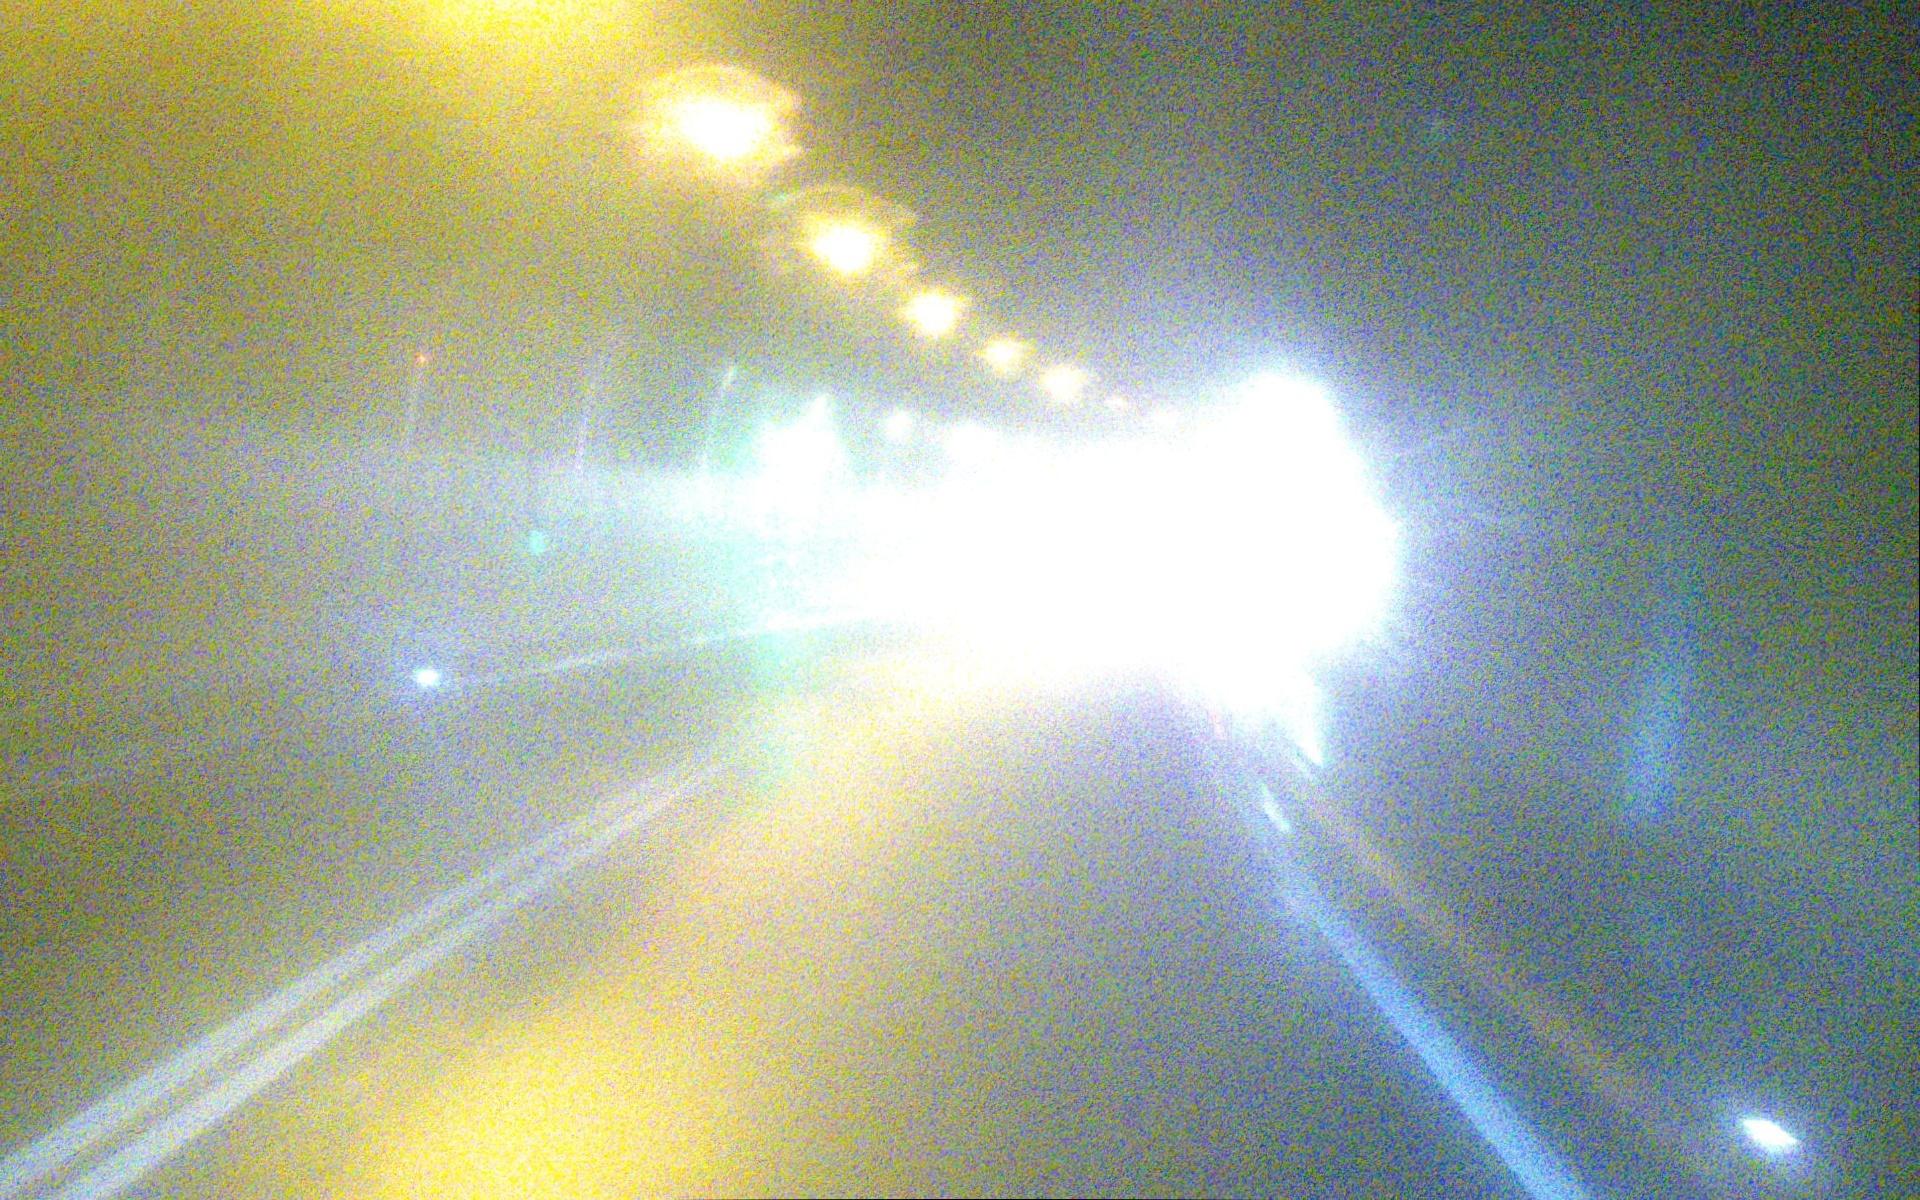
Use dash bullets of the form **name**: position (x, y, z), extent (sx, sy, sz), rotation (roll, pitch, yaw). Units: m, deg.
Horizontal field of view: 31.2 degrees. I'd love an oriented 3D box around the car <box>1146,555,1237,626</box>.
- **car**: position (5.635, -0.245, 83.317), extent (1.994, 1.645, 3.999), rotation (1, 1, 7)
